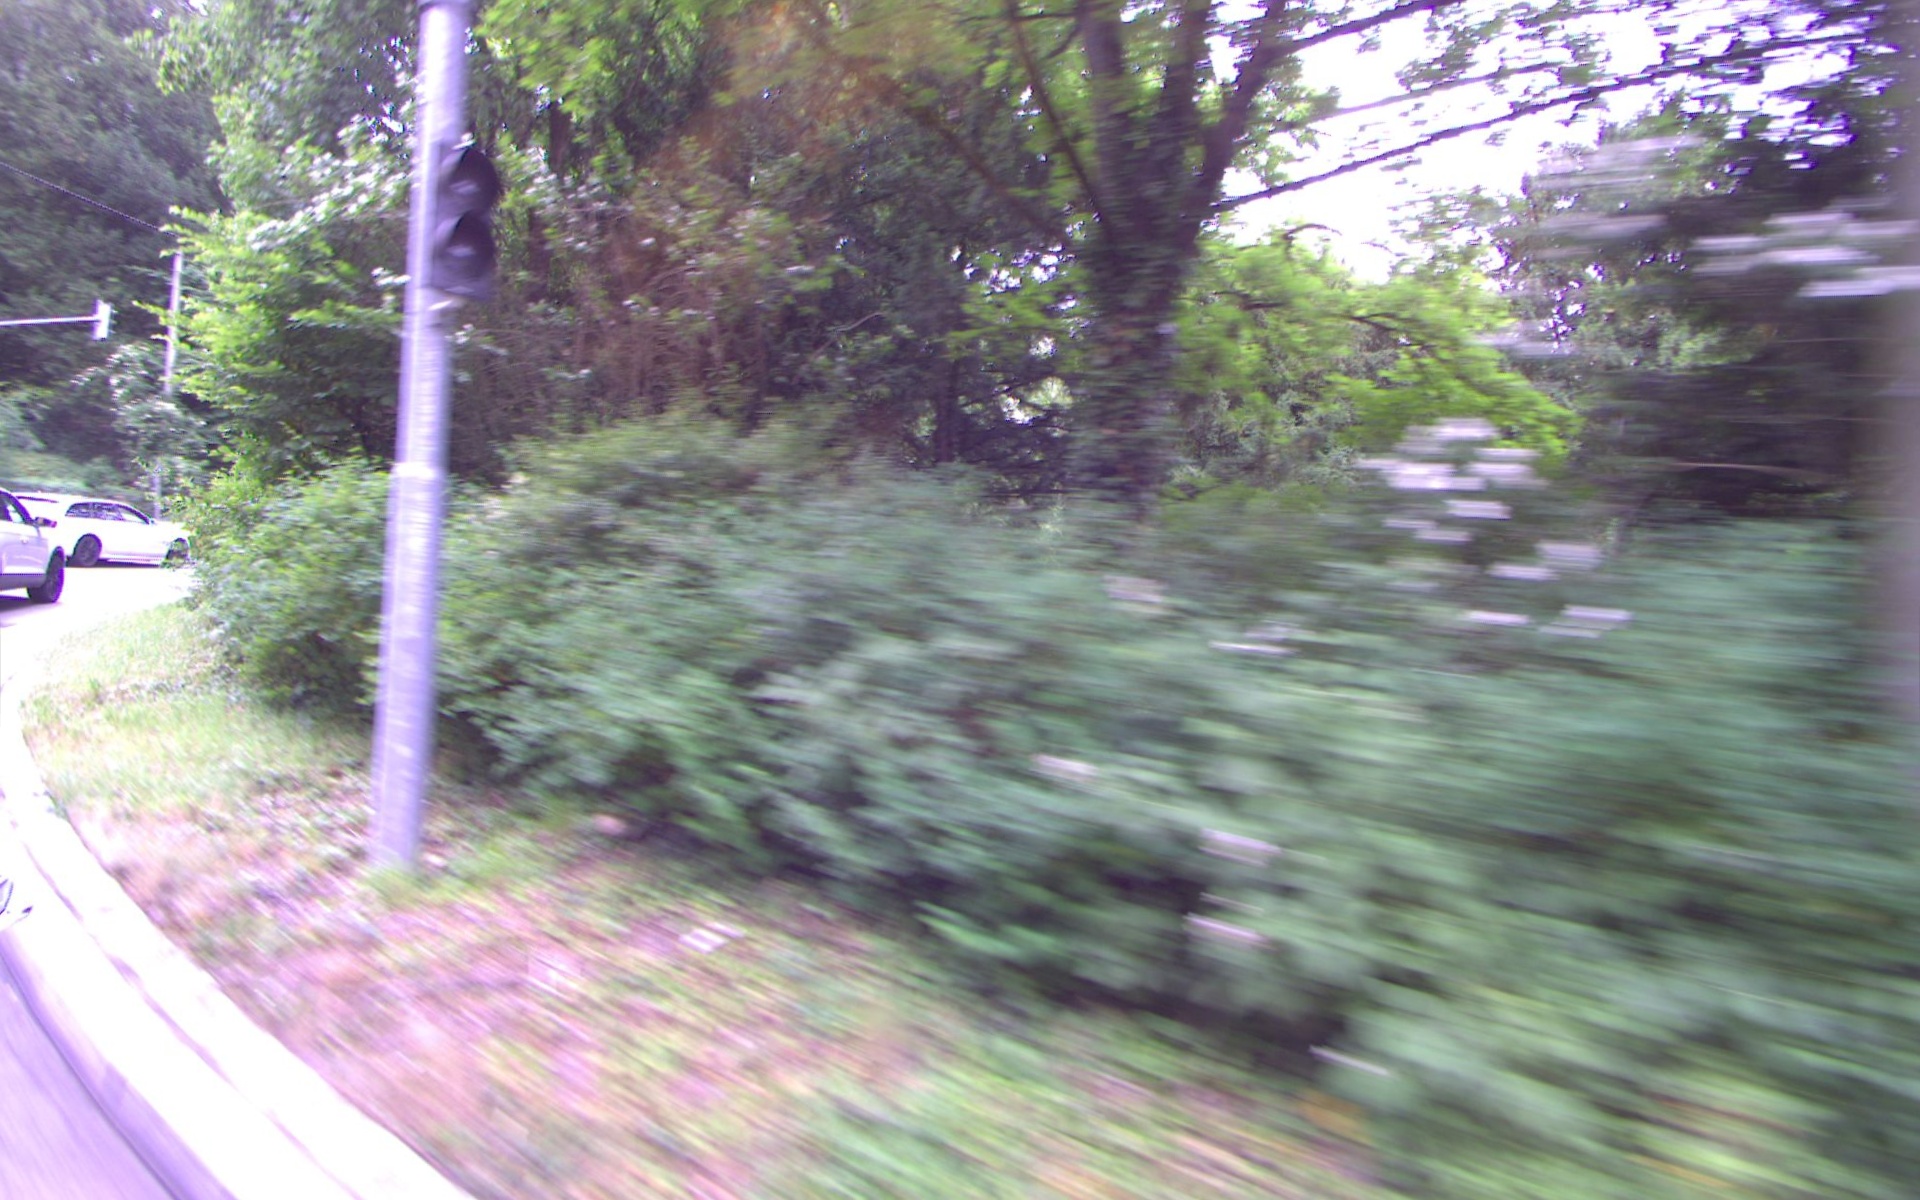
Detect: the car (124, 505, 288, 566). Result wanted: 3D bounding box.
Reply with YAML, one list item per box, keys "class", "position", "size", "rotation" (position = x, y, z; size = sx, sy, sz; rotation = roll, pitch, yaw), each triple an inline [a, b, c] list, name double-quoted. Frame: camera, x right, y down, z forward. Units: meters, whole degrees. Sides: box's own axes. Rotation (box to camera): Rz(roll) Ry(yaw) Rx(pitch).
- class: "car"
  position: [-22.928, -1.931, 30.792]
  size: [1.530, 1.441, 3.898]
  rotation: [7, 1, 12]

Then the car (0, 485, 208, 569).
- class: "car"
  position: [-19.174, -1.553, 22.277]
  size: [1.838, 1.554, 4.768]
  rotation: [5, 1, -7]

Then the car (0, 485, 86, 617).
- class: "car"
  position: [-12.628, -0.739, 12.453]
  size: [1.741, 1.571, 4.305]
  rotation: [8, -1, -29]
